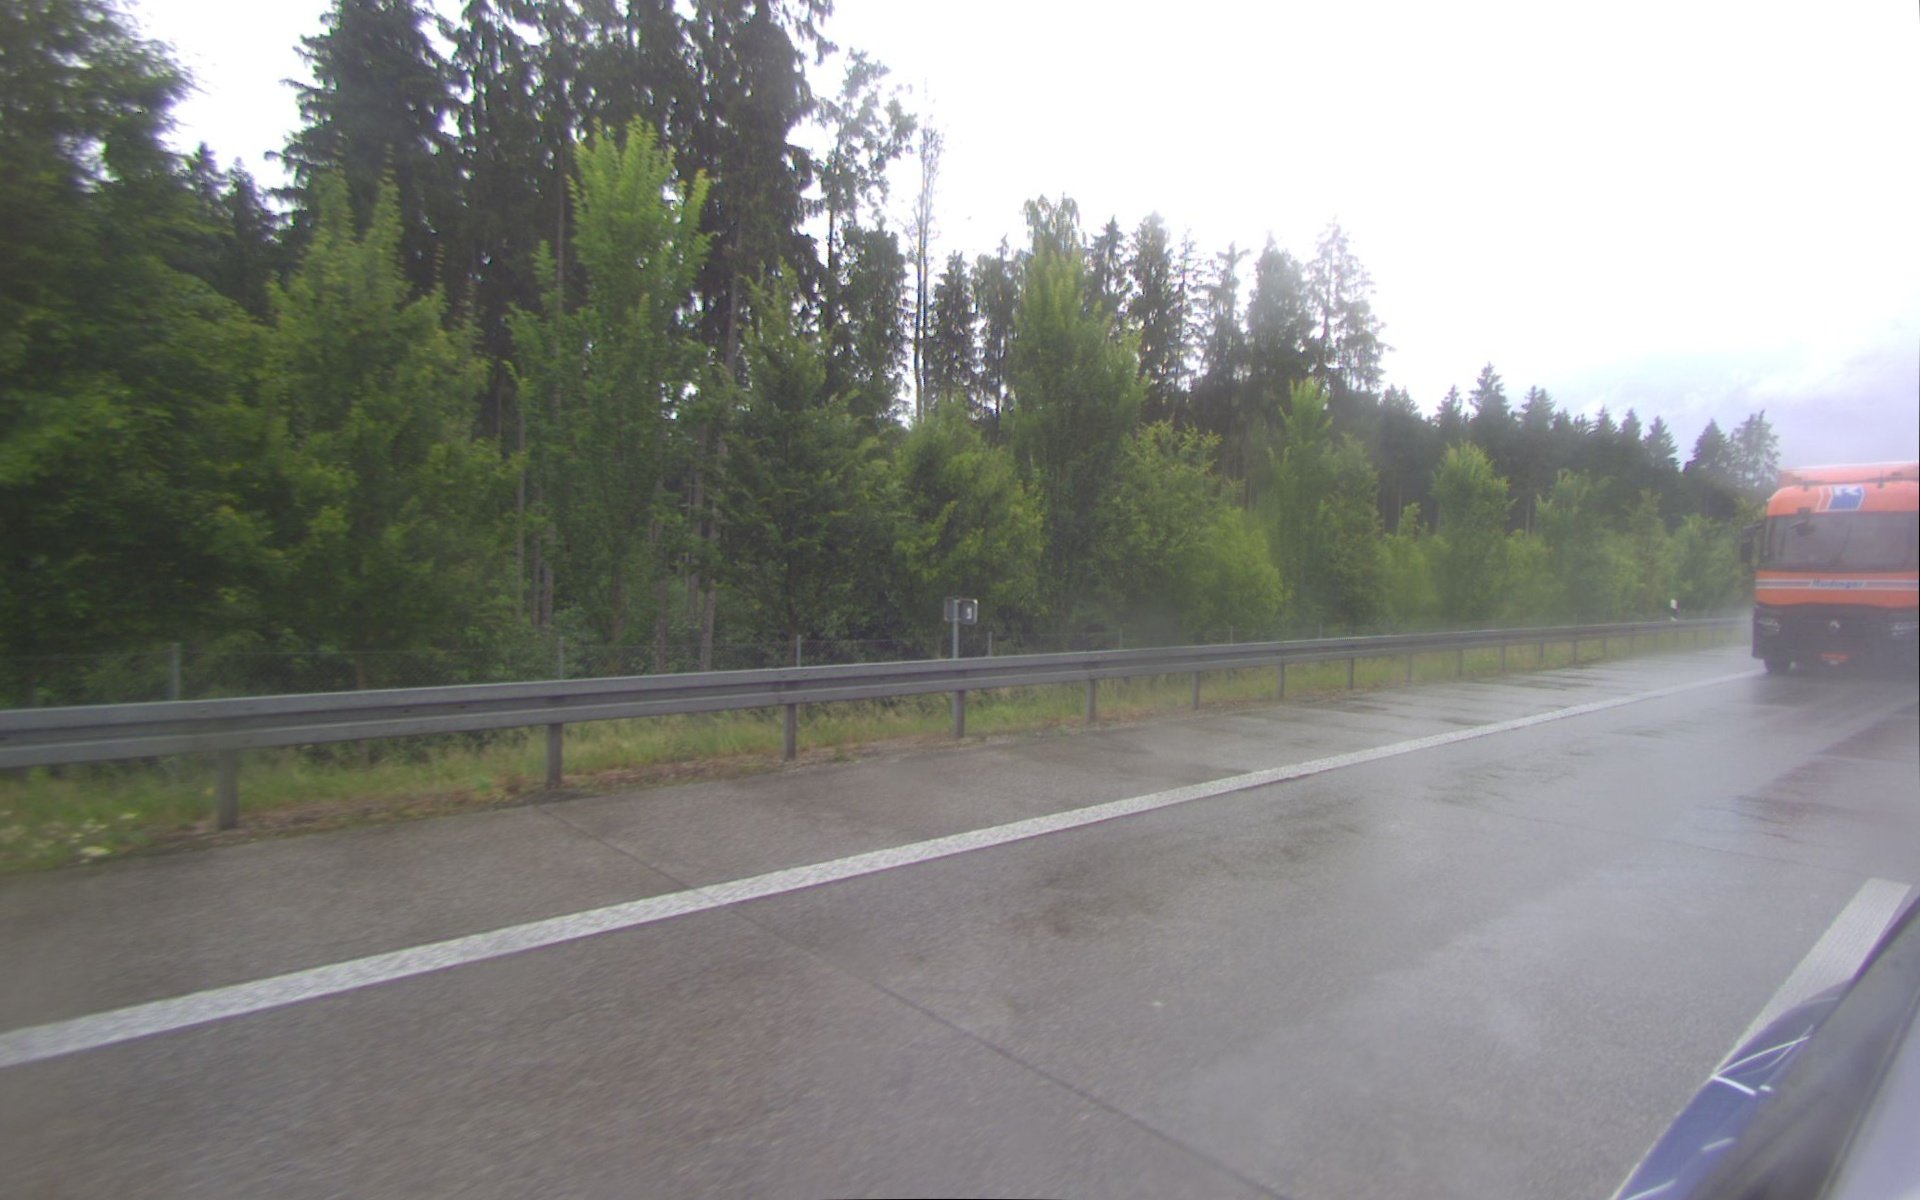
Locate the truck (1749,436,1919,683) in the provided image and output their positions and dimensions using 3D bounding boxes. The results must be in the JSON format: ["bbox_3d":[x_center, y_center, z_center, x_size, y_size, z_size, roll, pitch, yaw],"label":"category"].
[{"bbox_3d":[17.580,-0.722,19.351,5.342,4.137,2.765,0,3,-41],"label":"truck"}]

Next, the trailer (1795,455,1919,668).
[{"bbox_3d":[23.568,-0.787,24.592,12.777,4.207,2.801,0,3,-41],"label":"trailer"}]
